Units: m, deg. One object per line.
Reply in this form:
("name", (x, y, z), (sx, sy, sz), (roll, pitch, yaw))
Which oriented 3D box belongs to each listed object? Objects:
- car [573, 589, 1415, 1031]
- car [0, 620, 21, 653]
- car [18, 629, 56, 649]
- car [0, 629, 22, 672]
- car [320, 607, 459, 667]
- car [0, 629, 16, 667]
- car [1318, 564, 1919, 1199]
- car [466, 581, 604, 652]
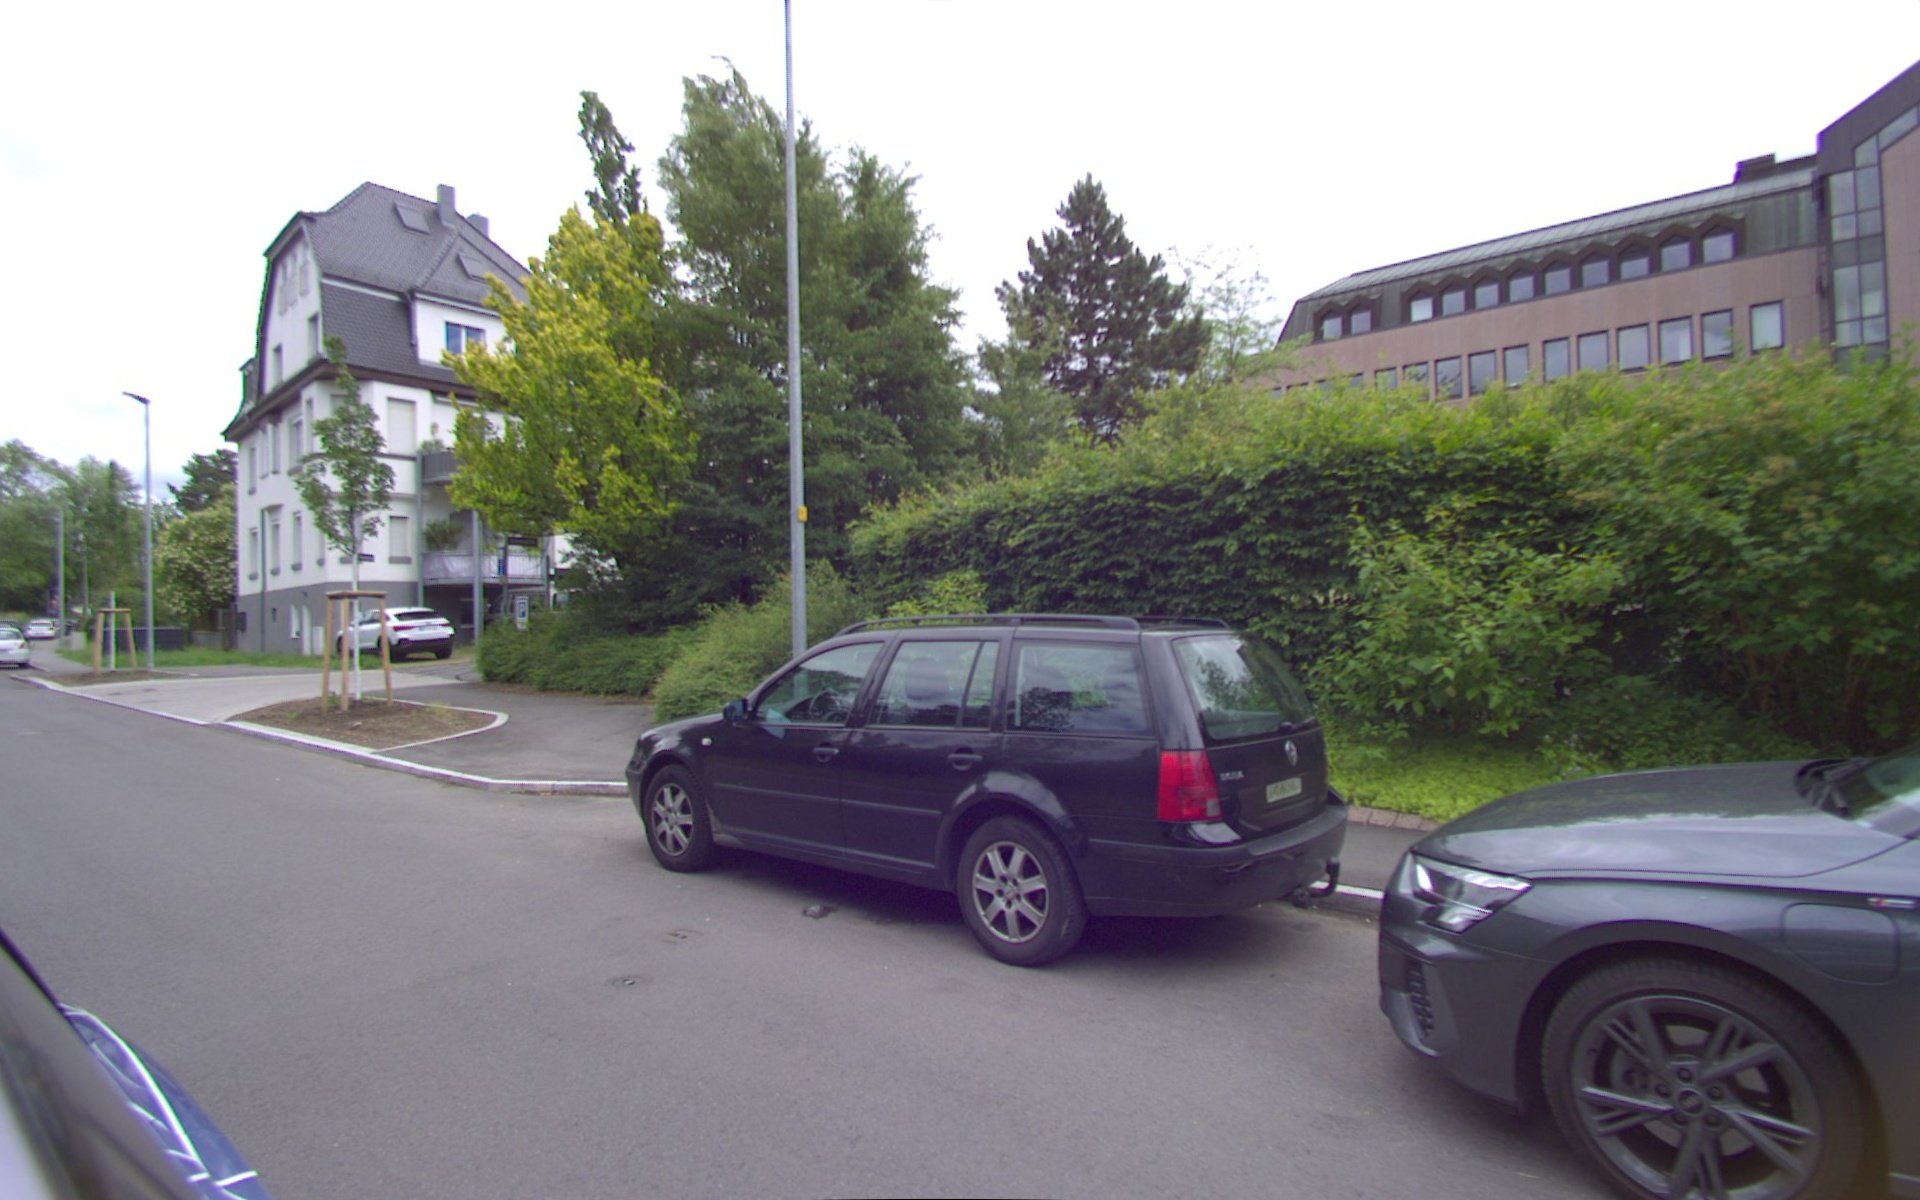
("car", (-0.198, 0.776, 5.620), (4.690, 1.494, 1.665), (-2, -2, 41))
("car", (-54.642, 2.042, 57.456), (1.774, 1.814, 4.070), (2, -2, -41))
("car", (-69.332, 2.911, 76.055), (1.709, 1.439, 3.465), (1, -2, -37))
("car", (-35.306, 1.828, 36.713), (4.072, 1.481, 1.624), (-2, -3, 44))
("car", (-16.993, 1.023, 30.074), (4.589, 1.544, 1.888), (0, 3, 37))
("car", (-39.378, 1.898, 40.815), (4.729, 1.400, 1.705), (0, -2, 45))
("car", (3.260, 0.664, 2.025), (4.494, 1.494, 1.688), (-2, -2, 42))
("car", (-13.651, 0.473, 32.414), (4.756, 2.066, 1.888), (0, 3, 37))
